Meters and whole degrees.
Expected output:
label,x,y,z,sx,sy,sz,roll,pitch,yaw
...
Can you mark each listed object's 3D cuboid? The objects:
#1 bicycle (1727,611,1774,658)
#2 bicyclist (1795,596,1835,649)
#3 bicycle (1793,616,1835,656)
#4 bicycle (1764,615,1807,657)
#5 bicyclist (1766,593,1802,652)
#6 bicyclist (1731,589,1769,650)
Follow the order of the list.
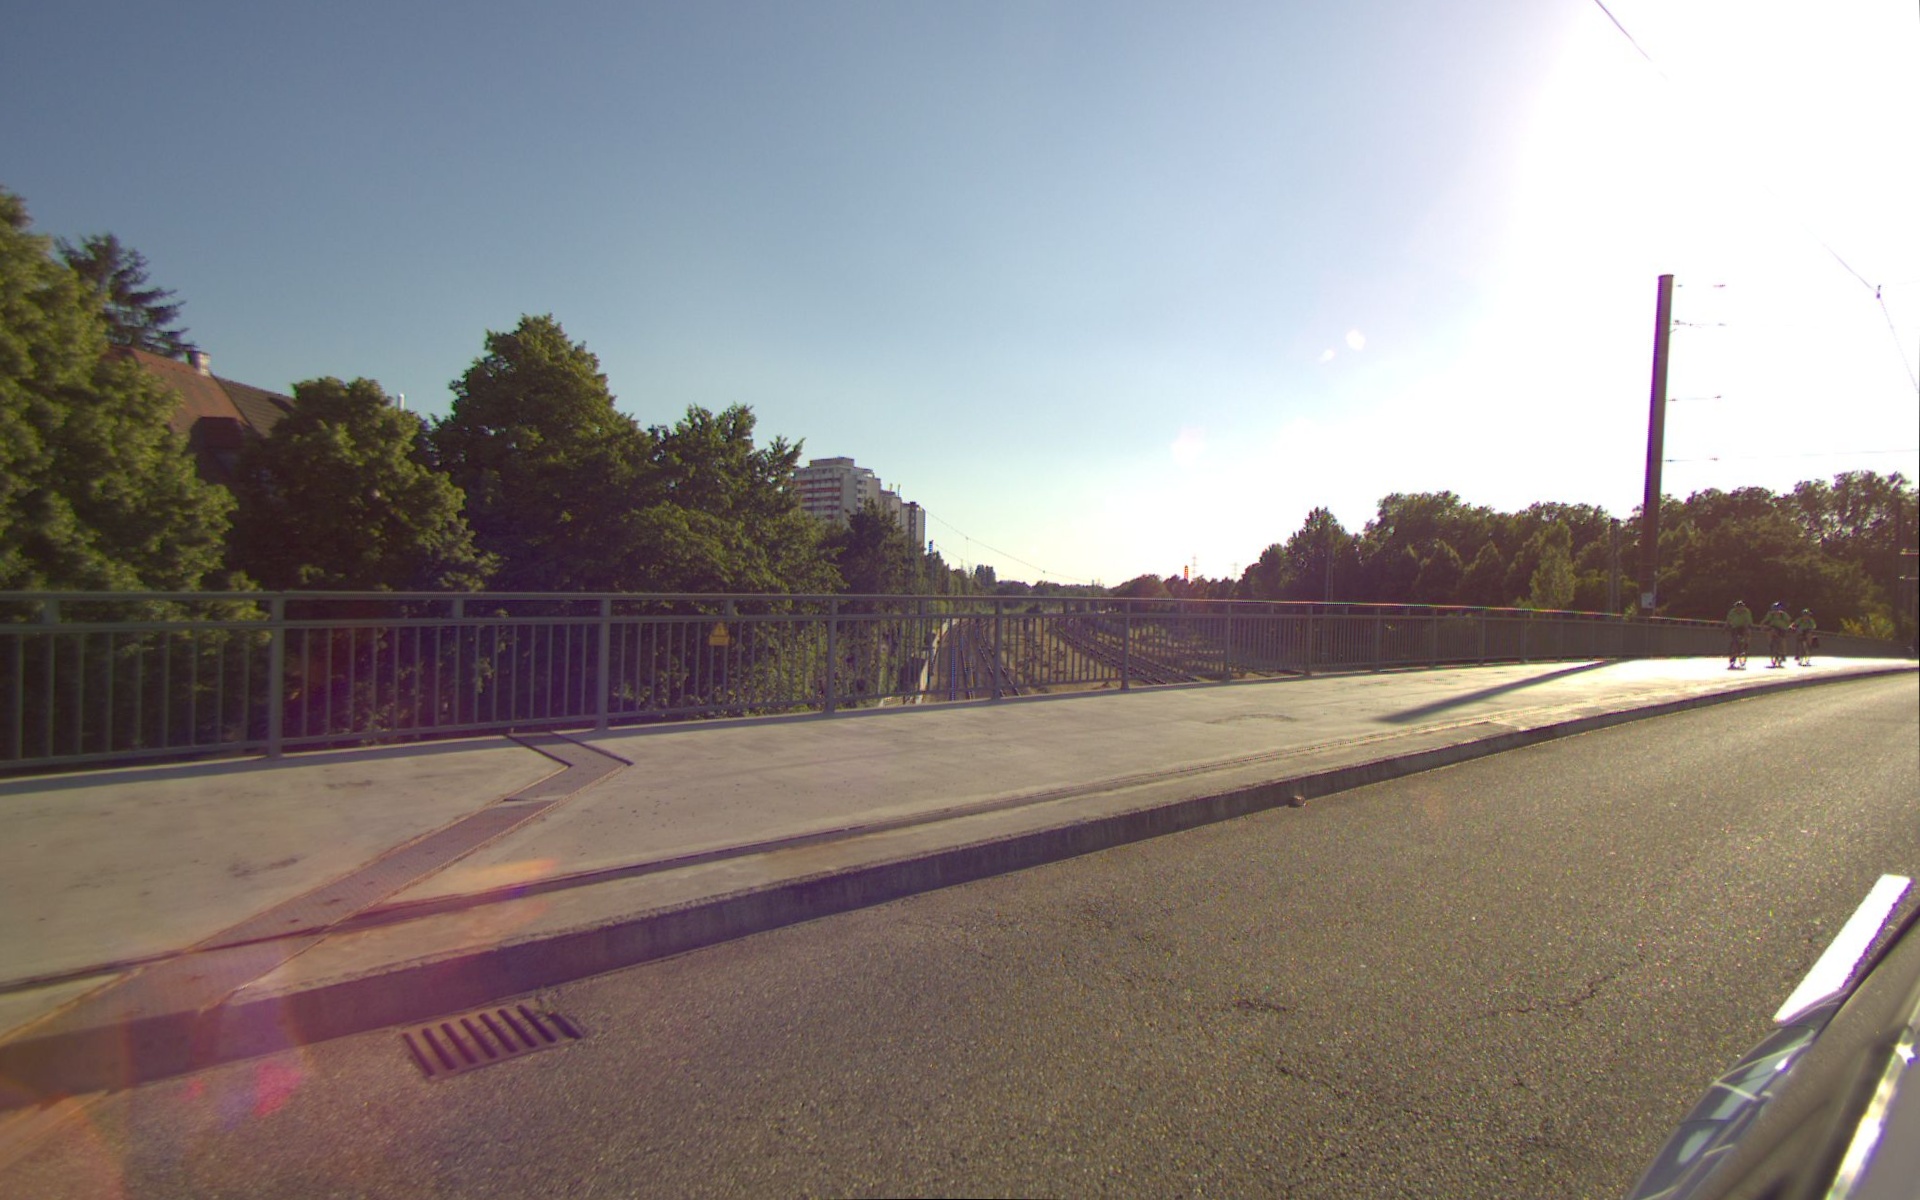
label,x,y,z,sx,sy,sz,roll,pitch,yaw
bicycle,20.400,0.880,26.097,2.221,1.137,0.625,2,-1,-44
bicyclist,26.201,0.699,31.013,0.881,1.582,0.813,3,-2,-41
bicycle,26.167,1.112,30.999,2.177,1.137,0.684,3,-1,-42
bicycle,23.207,0.993,28.435,2.006,1.137,0.626,1,0,-42
bicyclist,23.177,0.623,28.455,0.914,1.613,0.626,1,0,-41
bicyclist,20.368,0.500,26.092,0.989,1.527,0.626,2,-1,-43
